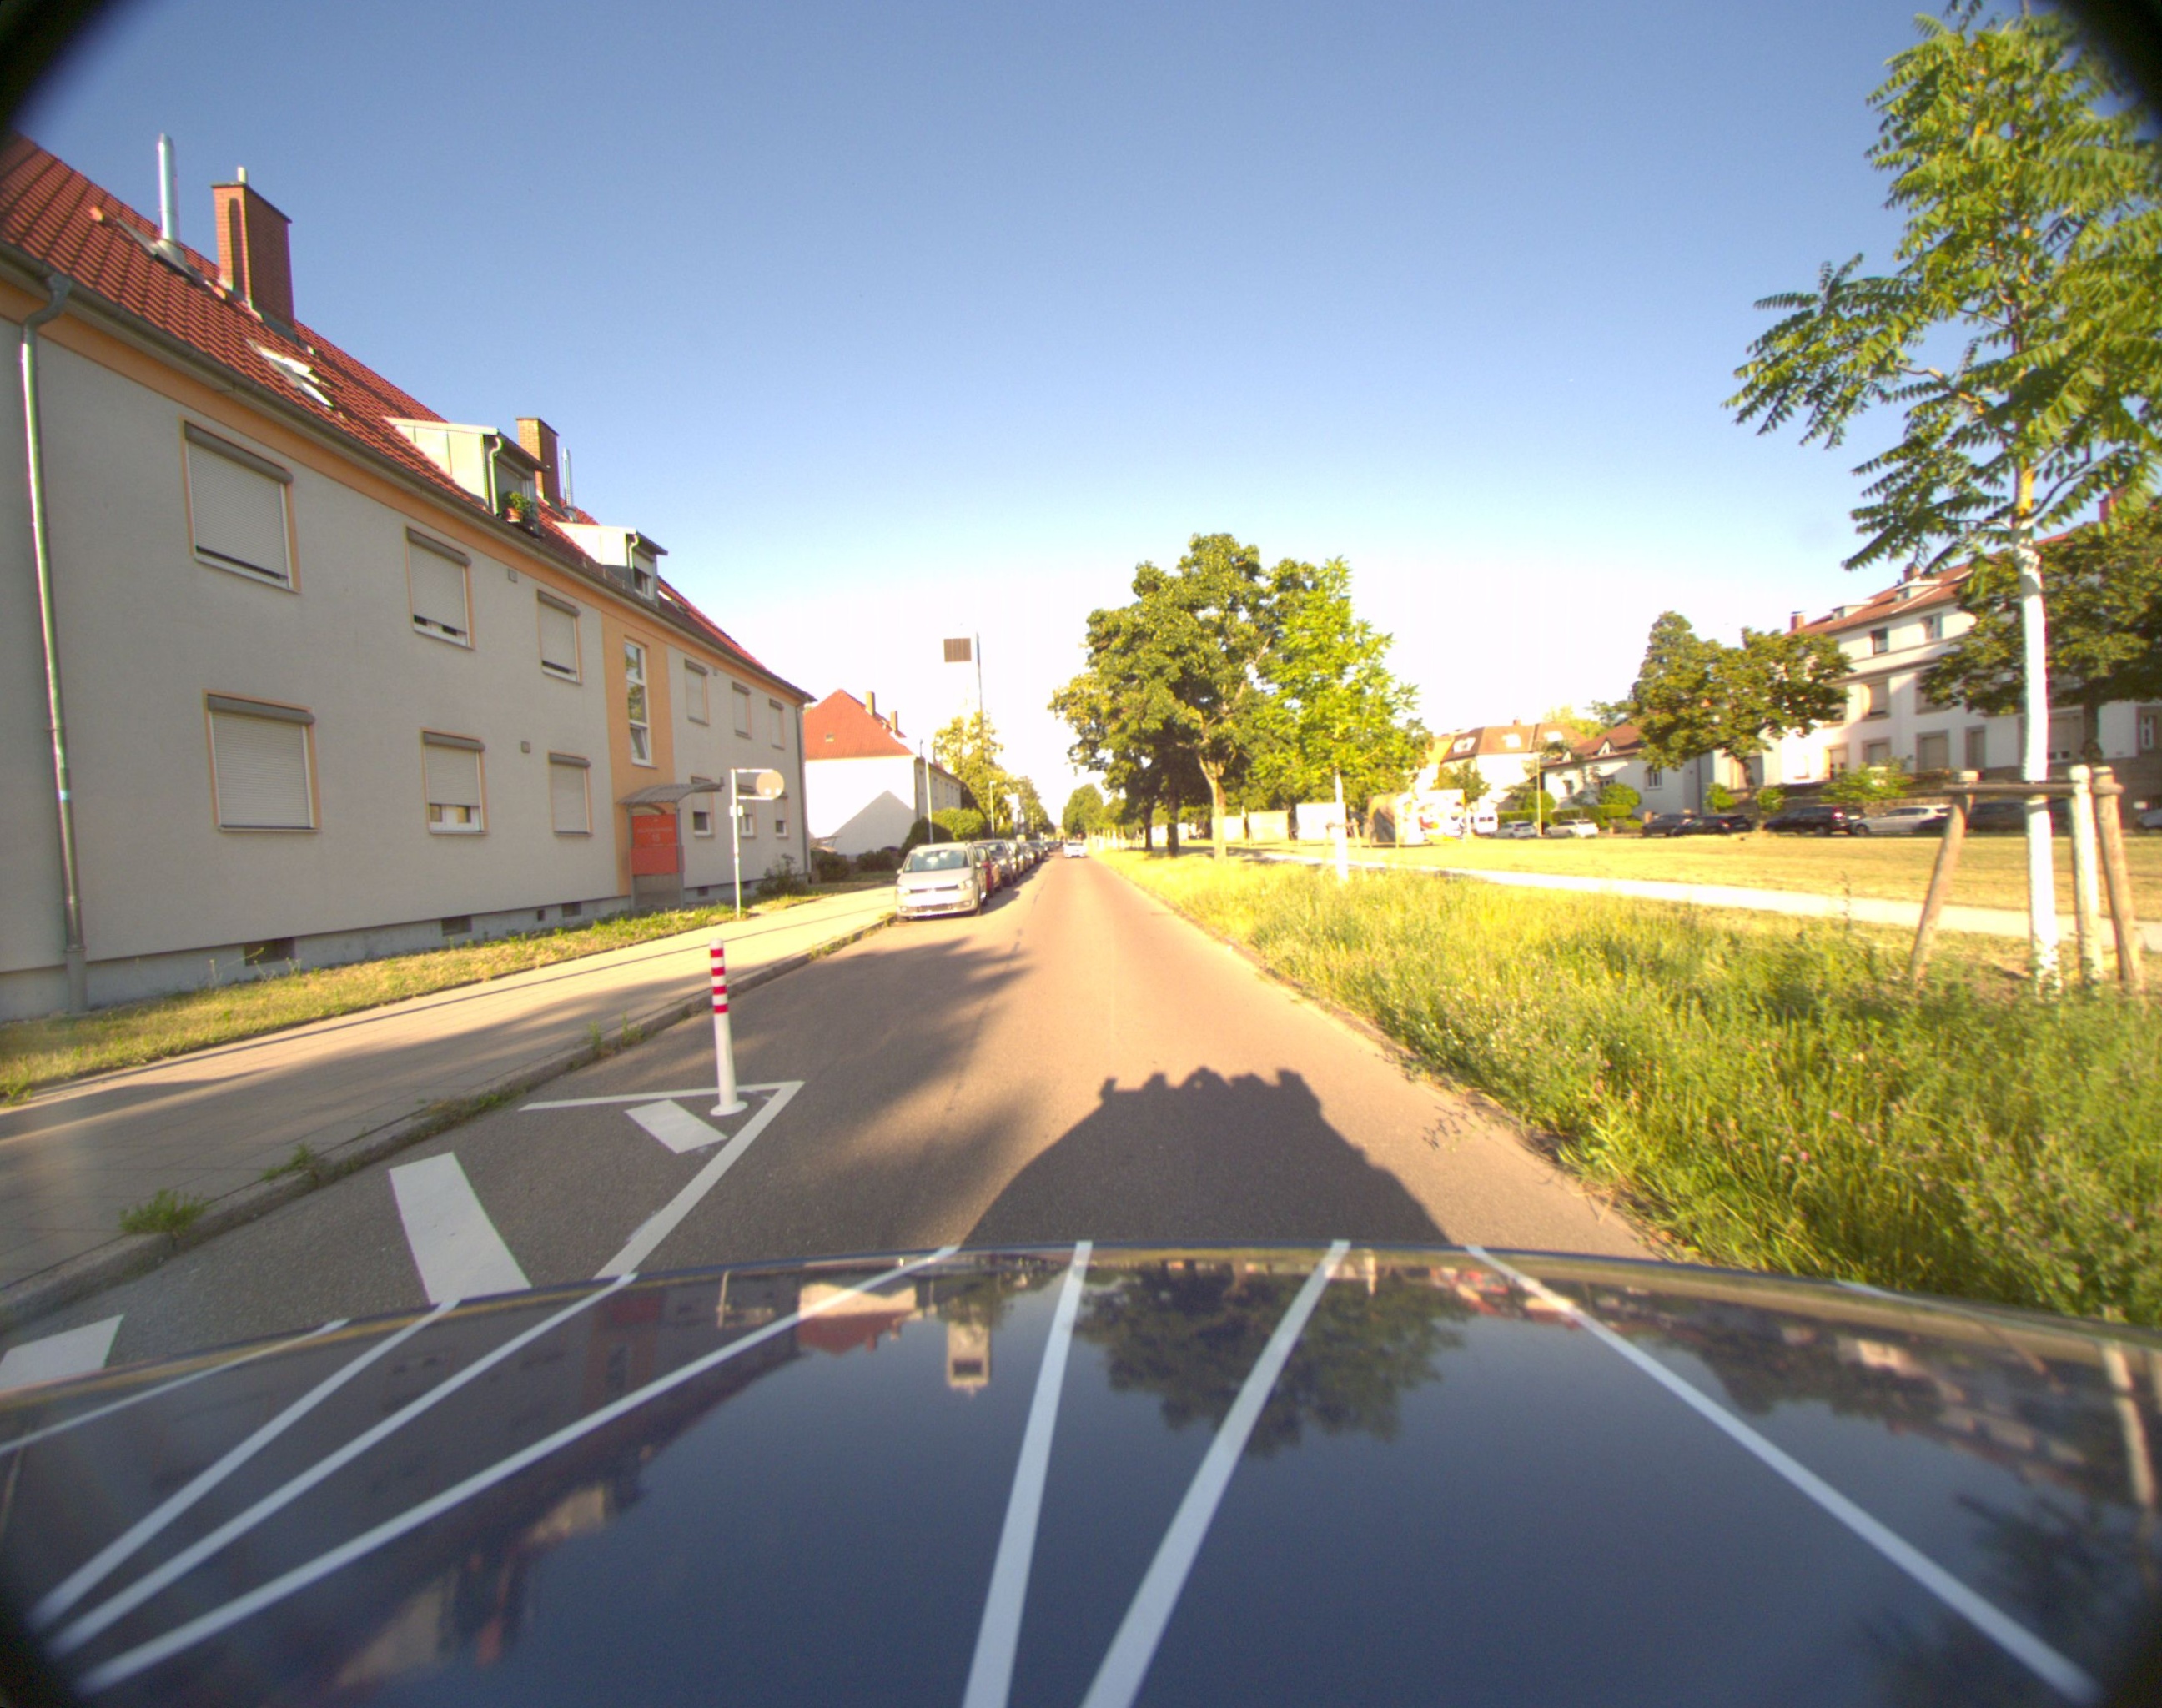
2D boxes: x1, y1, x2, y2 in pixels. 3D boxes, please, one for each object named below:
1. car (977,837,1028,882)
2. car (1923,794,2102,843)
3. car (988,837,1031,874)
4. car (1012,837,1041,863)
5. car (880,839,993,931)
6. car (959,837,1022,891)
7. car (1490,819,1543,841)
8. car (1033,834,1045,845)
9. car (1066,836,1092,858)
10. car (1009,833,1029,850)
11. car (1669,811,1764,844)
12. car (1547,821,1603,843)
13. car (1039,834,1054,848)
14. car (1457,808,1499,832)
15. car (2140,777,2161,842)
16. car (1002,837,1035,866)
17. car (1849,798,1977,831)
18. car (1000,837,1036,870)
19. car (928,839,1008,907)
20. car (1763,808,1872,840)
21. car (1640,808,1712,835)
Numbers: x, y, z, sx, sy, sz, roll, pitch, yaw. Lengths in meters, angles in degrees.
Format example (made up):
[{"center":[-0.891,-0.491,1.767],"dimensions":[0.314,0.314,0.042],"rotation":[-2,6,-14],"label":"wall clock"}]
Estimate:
[{"center":[-3.307,0.179,32.713],"dimensions":[1.850,1.686,3.998],"rotation":[-4,2,-3],"label":"car"},{"center":[33.703,-1.244,27.681],"dimensions":[1.825,1.571,3.835],"rotation":[-3,2,-1],"label":"car"},{"center":[-3.614,0.028,38.985],"dimensions":[1.850,1.686,3.998],"rotation":[-4,2,-3],"label":"car"},{"center":[-3.879,-0.312,54.406],"dimensions":[1.850,1.686,3.998],"rotation":[-4,2,-3],"label":"car"},{"center":[-3.130,0.584,17.246],"dimensions":[1.850,1.686,3.998],"rotation":[-4,2,-3],"label":"car"},{"center":[-3.186,0.292,27.484],"dimensions":[1.850,1.686,3.998],"rotation":[-4,2,-3],"label":"car"},{"center":[33.525,-1.839,58.596],"dimensions":[1.825,1.571,3.835],"rotation":[-3,2,-1],"label":"car"},{"center":[-7.000,-2.392,125.702],"dimensions":[1.850,1.686,3.998],"rotation":[-4,2,-3],"label":"car"},{"center":[-0.222,-0.601,64.995],"dimensions":[1.870,1.686,4.298],"rotation":[-4,2,-3],"label":"car"},{"center":[-6.503,-1.344,80.245],"dimensions":[1.850,1.686,3.998],"rotation":[-4,2,-3],"label":"car"},{"center":[33.790,-1.389,40.562],"dimensions":[1.825,1.571,3.835],"rotation":[-3,2,-1],"label":"car"},{"center":[39.293,-1.753,60.512],"dimensions":[1.825,1.571,3.966],"rotation":[-3,2,-1],"label":"car"},{"center":[-4.498,-1.739,99.810],"dimensions":[1.850,1.686,3.998],"rotation":[-4,2,-3],"label":"car"},{"center":[38.865,-3.283,74.438],"dimensions":[1.998,2.201,4.130],"rotation":[-3,2,2],"label":"car"},{"center":[34.132,-1.354,21.433],"dimensions":[2.078,2.002,4.573],"rotation":[-2,2,-2],"label":"car"},{"center":[-4.059,-0.197,49.889],"dimensions":[1.850,1.686,3.998],"rotation":[-4,2,-3],"label":"car"},{"center":[39.616,-1.866,36.328],"dimensions":[1.641,1.438,4.007],"rotation":[-2,2,-1],"label":"car"},{"center":[-3.688,-0.085,44.822],"dimensions":[1.850,1.686,3.998],"rotation":[-4,2,-3],"label":"car"},{"center":[-3.285,0.472,22.746],"dimensions":[1.850,1.686,3.998],"rotation":[-4,2,-3],"label":"car"},{"center":[39.554,-1.594,40.957],"dimensions":[1.825,1.571,4.161],"rotation":[-3,2,-1],"label":"car"},{"center":[39.133,-2.090,50.061],"dimensions":[1.642,1.652,3.999],"rotation":[-2,2,1],"label":"car"}]
